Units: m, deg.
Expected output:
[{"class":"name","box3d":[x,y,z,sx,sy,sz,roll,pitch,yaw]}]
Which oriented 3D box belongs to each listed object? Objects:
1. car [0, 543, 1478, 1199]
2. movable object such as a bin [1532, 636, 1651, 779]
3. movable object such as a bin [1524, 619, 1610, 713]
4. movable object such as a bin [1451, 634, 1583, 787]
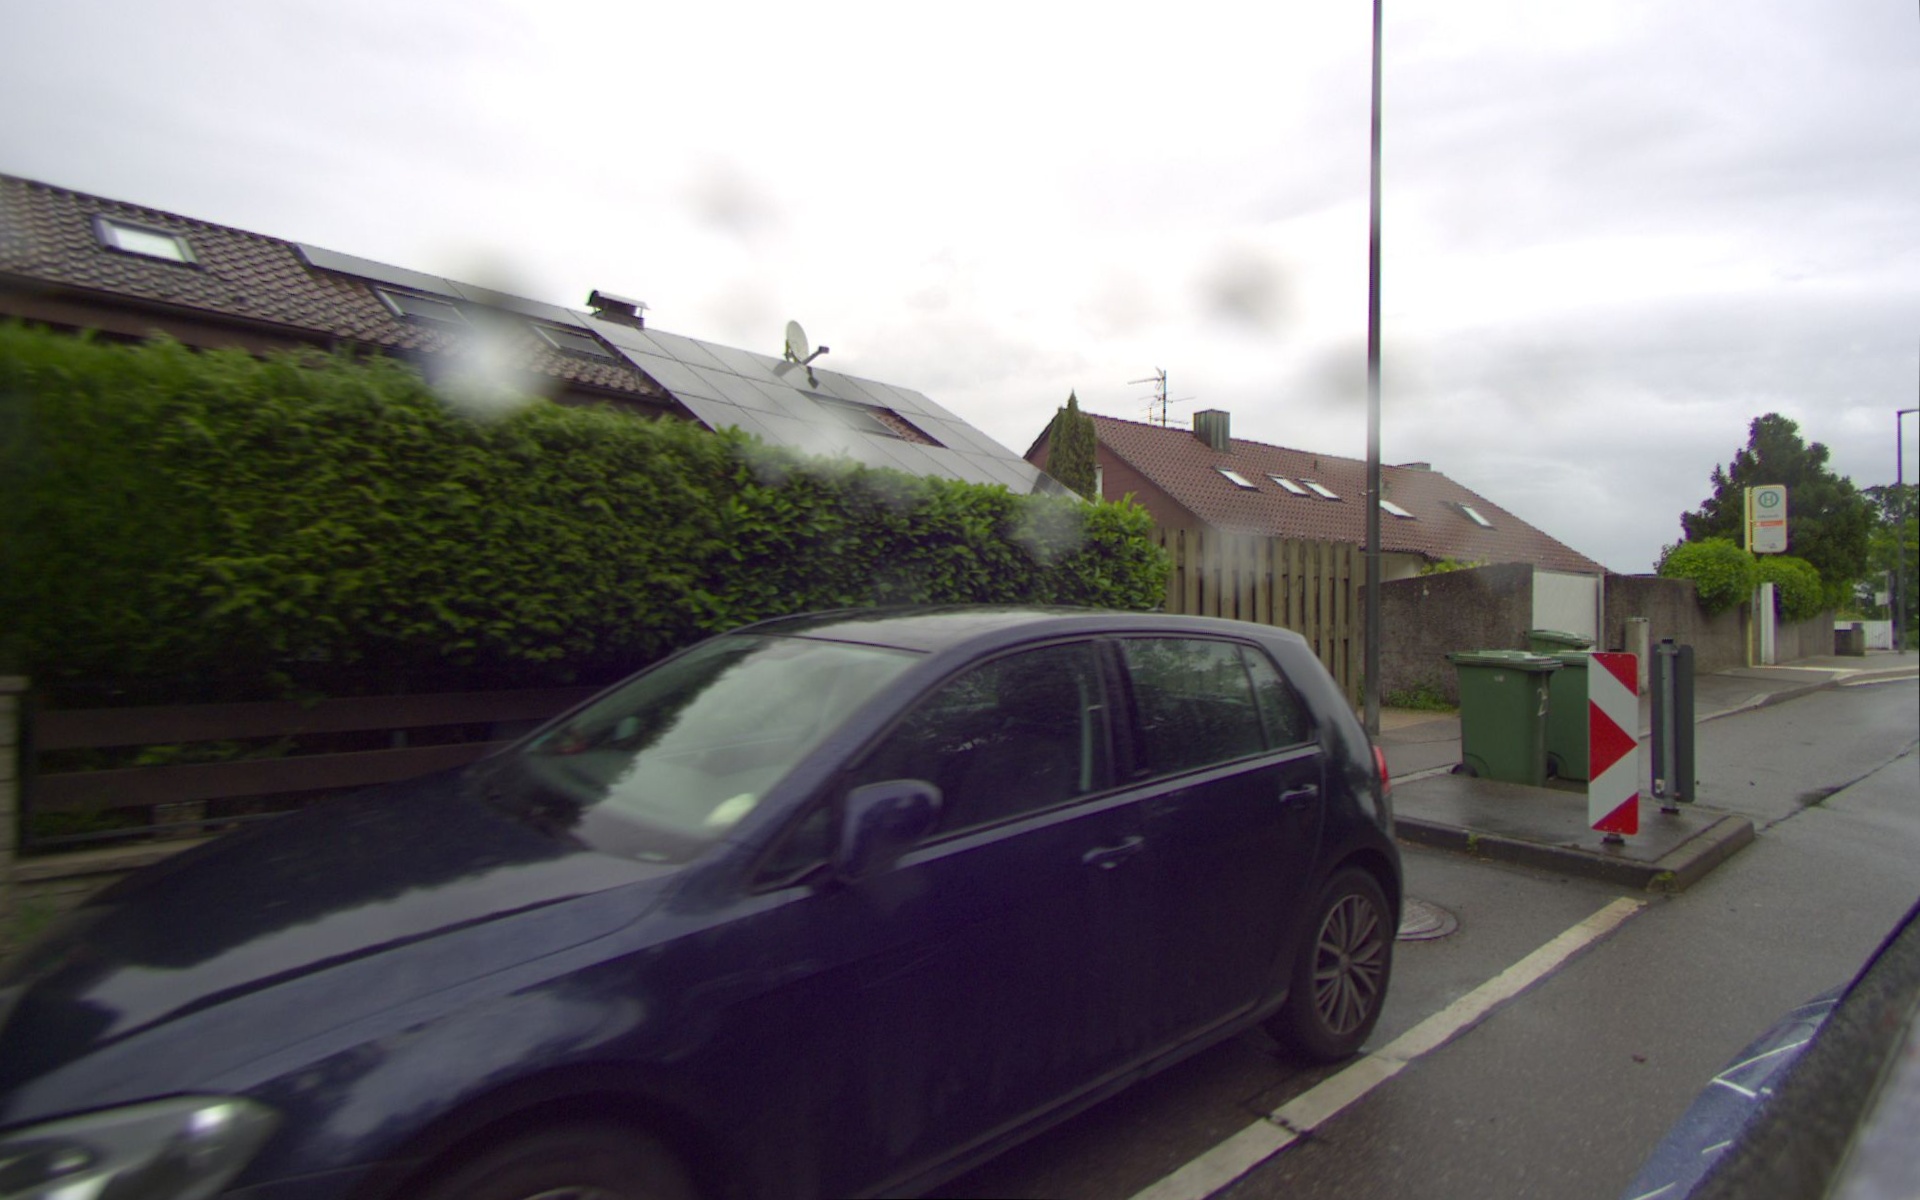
[{"class":"car","box3d":[-0.238,0.692,3.064,4.225,1.480,1.759,1,-1,-41]},{"class":"movable object such as a bin","box3d":[5.304,0.868,8.507,0.645,1.109,0.715,1,-1,-44]},{"class":"movable object such as a bin","box3d":[7.667,0.808,12.794,0.589,1.102,0.741,1,1,-37]},{"class":"movable object such as a bin","box3d":[4.345,0.827,7.899,0.649,1.092,0.730,1,-1,-42]}]
